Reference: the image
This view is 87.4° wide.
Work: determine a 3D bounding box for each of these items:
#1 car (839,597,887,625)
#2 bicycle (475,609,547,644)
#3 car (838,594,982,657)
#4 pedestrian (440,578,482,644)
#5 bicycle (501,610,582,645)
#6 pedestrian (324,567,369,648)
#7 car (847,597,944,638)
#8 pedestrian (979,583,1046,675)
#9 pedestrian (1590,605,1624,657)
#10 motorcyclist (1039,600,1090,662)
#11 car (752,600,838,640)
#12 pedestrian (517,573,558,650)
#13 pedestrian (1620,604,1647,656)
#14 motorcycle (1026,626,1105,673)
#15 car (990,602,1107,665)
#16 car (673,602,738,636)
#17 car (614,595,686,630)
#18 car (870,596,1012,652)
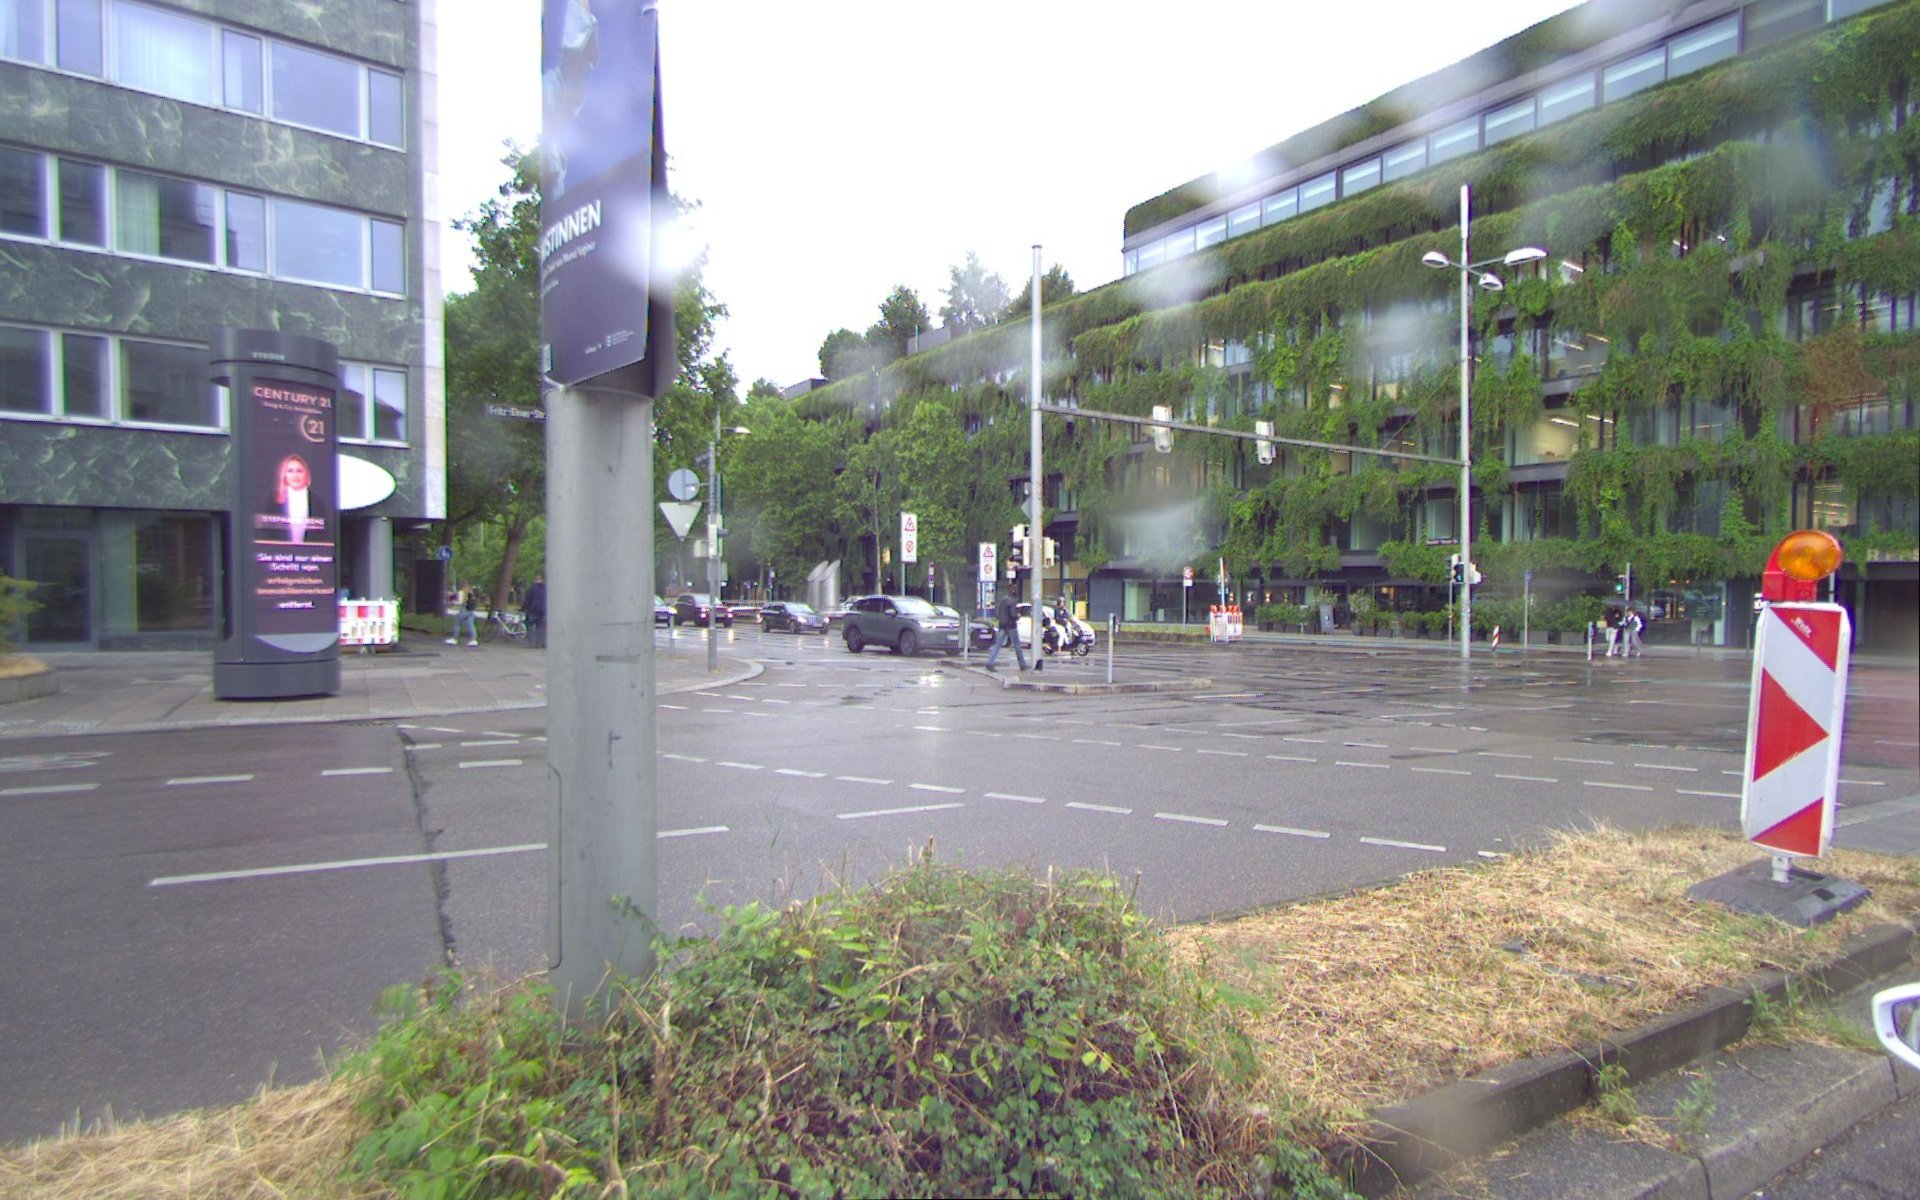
[{"bbox_3d":[-7.512,0.822,77.297,1.979,2.040,4.073,1,-1,-34],"label":"car"},{"bbox_3d":[-12.392,0.741,27.769,1.773,0.946,0.473,1,0,-21],"label":"bicycle"},{"bbox_3d":[-1.516,0.692,29.056,1.985,1.674,4.186,1,0,-42],"label":"car"},{"bbox_3d":[-12.695,0.291,25.552,0.912,1.606,0.828,1,-4,-30],"label":"pedestrian"},{"bbox_3d":[-12.124,0.797,29.155,2.170,0.968,0.423,2,-1,-44],"label":"bicycle"},{"bbox_3d":[-14.686,0.184,24.044,0.868,1.879,1.015,1,0,-34],"label":"pedestrian"},{"bbox_3d":[-2.593,0.670,39.678,1.858,1.543,3.855,1,0,-42],"label":"car"},{"bbox_3d":[1.123,0.609,21.556,1.225,1.910,0.685,1,2,-34],"label":"pedestrian"},{"bbox_3d":[22.824,1.080,35.430,0.923,1.781,1.167,1,0,37],"label":"pedestrian"},{"bbox_3d":[3.027,0.877,29.054,1.173,1.725,0.843,1,0,44],"label":"motorcyclist"},{"bbox_3d":[-7.538,0.888,45.728,1.986,1.674,4.050,3,-1,-42],"label":"car"},{"bbox_3d":[-10.731,0.302,25.503,0.887,1.909,0.781,1,-4,-30],"label":"pedestrian"},{"bbox_3d":[23.434,1.027,34.934,0.731,1.781,0.972,1,0,37],"label":"pedestrian"},{"bbox_3d":[3.030,1.407,29.044,2.204,1.227,0.843,1,0,44],"label":"motorcycle"},{"bbox_3d":[2.904,1.059,33.248,1.985,1.948,3.417,1,0,-42],"label":"car"},{"bbox_3d":[-13.787,1.011,54.263,1.805,1.674,4.053,3,-1,-40],"label":"car"},{"bbox_3d":[-15.996,0.614,51.671,1.986,1.674,4.050,3,-1,-42],"label":"car"},{"bbox_3d":[-0.695,0.737,32.719,1.957,1.674,4.755,1,0,-43],"label":"car"}]
